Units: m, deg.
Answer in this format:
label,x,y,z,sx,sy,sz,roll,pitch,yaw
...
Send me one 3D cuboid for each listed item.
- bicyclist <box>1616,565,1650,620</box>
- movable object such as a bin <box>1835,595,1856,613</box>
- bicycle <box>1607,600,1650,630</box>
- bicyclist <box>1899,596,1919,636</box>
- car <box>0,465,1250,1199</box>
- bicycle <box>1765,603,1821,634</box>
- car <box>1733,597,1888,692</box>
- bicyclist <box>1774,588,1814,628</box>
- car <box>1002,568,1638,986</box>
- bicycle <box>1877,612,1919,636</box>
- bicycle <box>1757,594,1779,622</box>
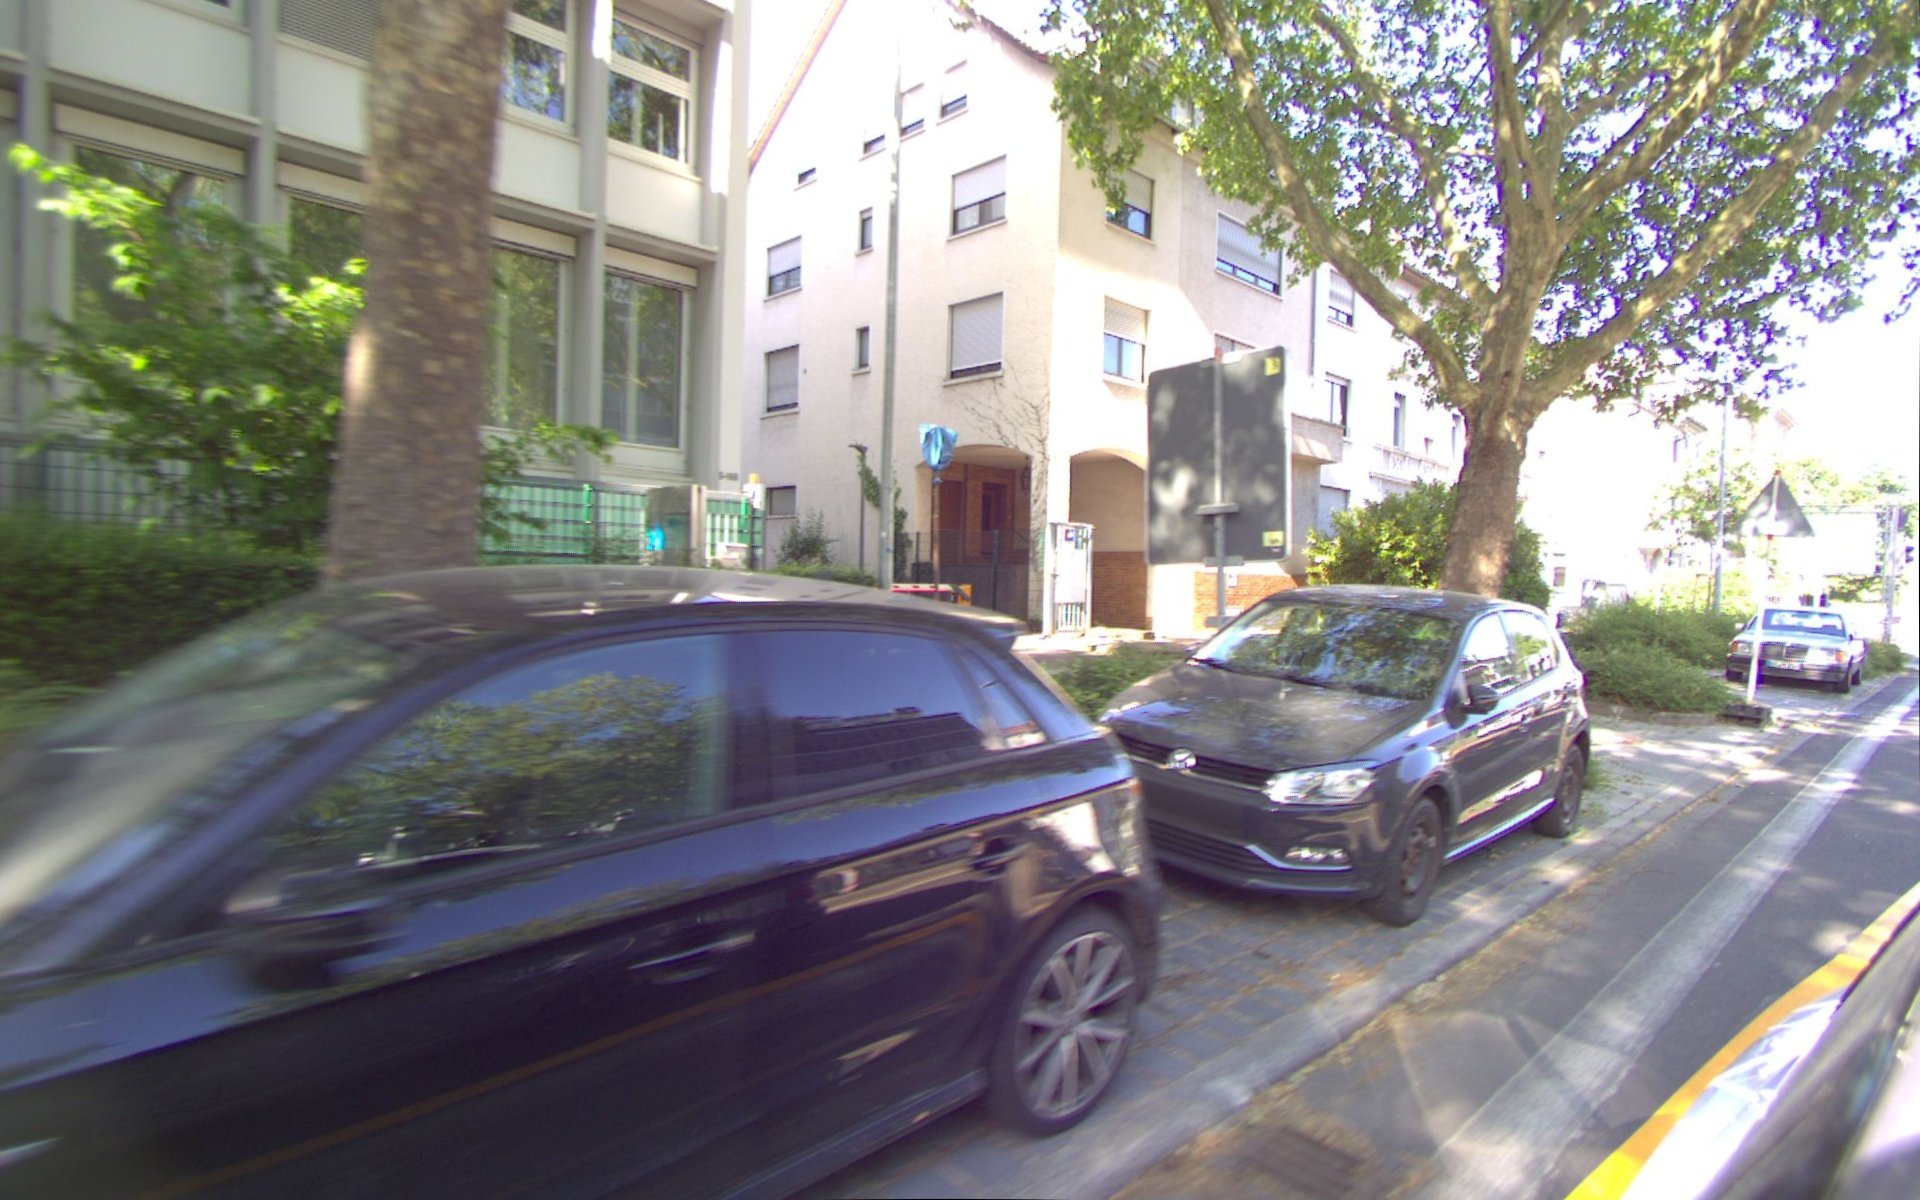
label,x,y,z,sx,sy,sz,roll,pitch,yaw
bicyclist,22.986,-0.242,34.561,1.052,1.843,0.725,1,1,-43
movable object such as a bin,76.571,0.343,87.522,0.963,1.415,1.277,4,1,23
bicycle,22.869,0.500,34.603,1.792,0.978,0.783,0,1,-42
bicyclist,41.741,0.697,44.503,0.844,1.730,0.604,1,1,-44
car,-1.133,0.609,2.312,4.060,1.559,1.659,0,1,-44
bicycle,32.201,0.718,39.117,1.652,1.112,0.692,2,0,-7
car,15.963,0.722,18.893,1.853,1.498,4.863,2,1,44
bicyclist,32.211,0.302,39.097,0.853,1.518,0.727,2,1,-8
car,2.322,0.627,5.803,4.181,1.527,1.765,0,1,-44
bicycle,41.733,1.051,44.582,0.595,1.038,1.964,2,-1,-44
bicycle,43.644,0.438,54.656,0.708,1.462,2.450,0,-1,45
